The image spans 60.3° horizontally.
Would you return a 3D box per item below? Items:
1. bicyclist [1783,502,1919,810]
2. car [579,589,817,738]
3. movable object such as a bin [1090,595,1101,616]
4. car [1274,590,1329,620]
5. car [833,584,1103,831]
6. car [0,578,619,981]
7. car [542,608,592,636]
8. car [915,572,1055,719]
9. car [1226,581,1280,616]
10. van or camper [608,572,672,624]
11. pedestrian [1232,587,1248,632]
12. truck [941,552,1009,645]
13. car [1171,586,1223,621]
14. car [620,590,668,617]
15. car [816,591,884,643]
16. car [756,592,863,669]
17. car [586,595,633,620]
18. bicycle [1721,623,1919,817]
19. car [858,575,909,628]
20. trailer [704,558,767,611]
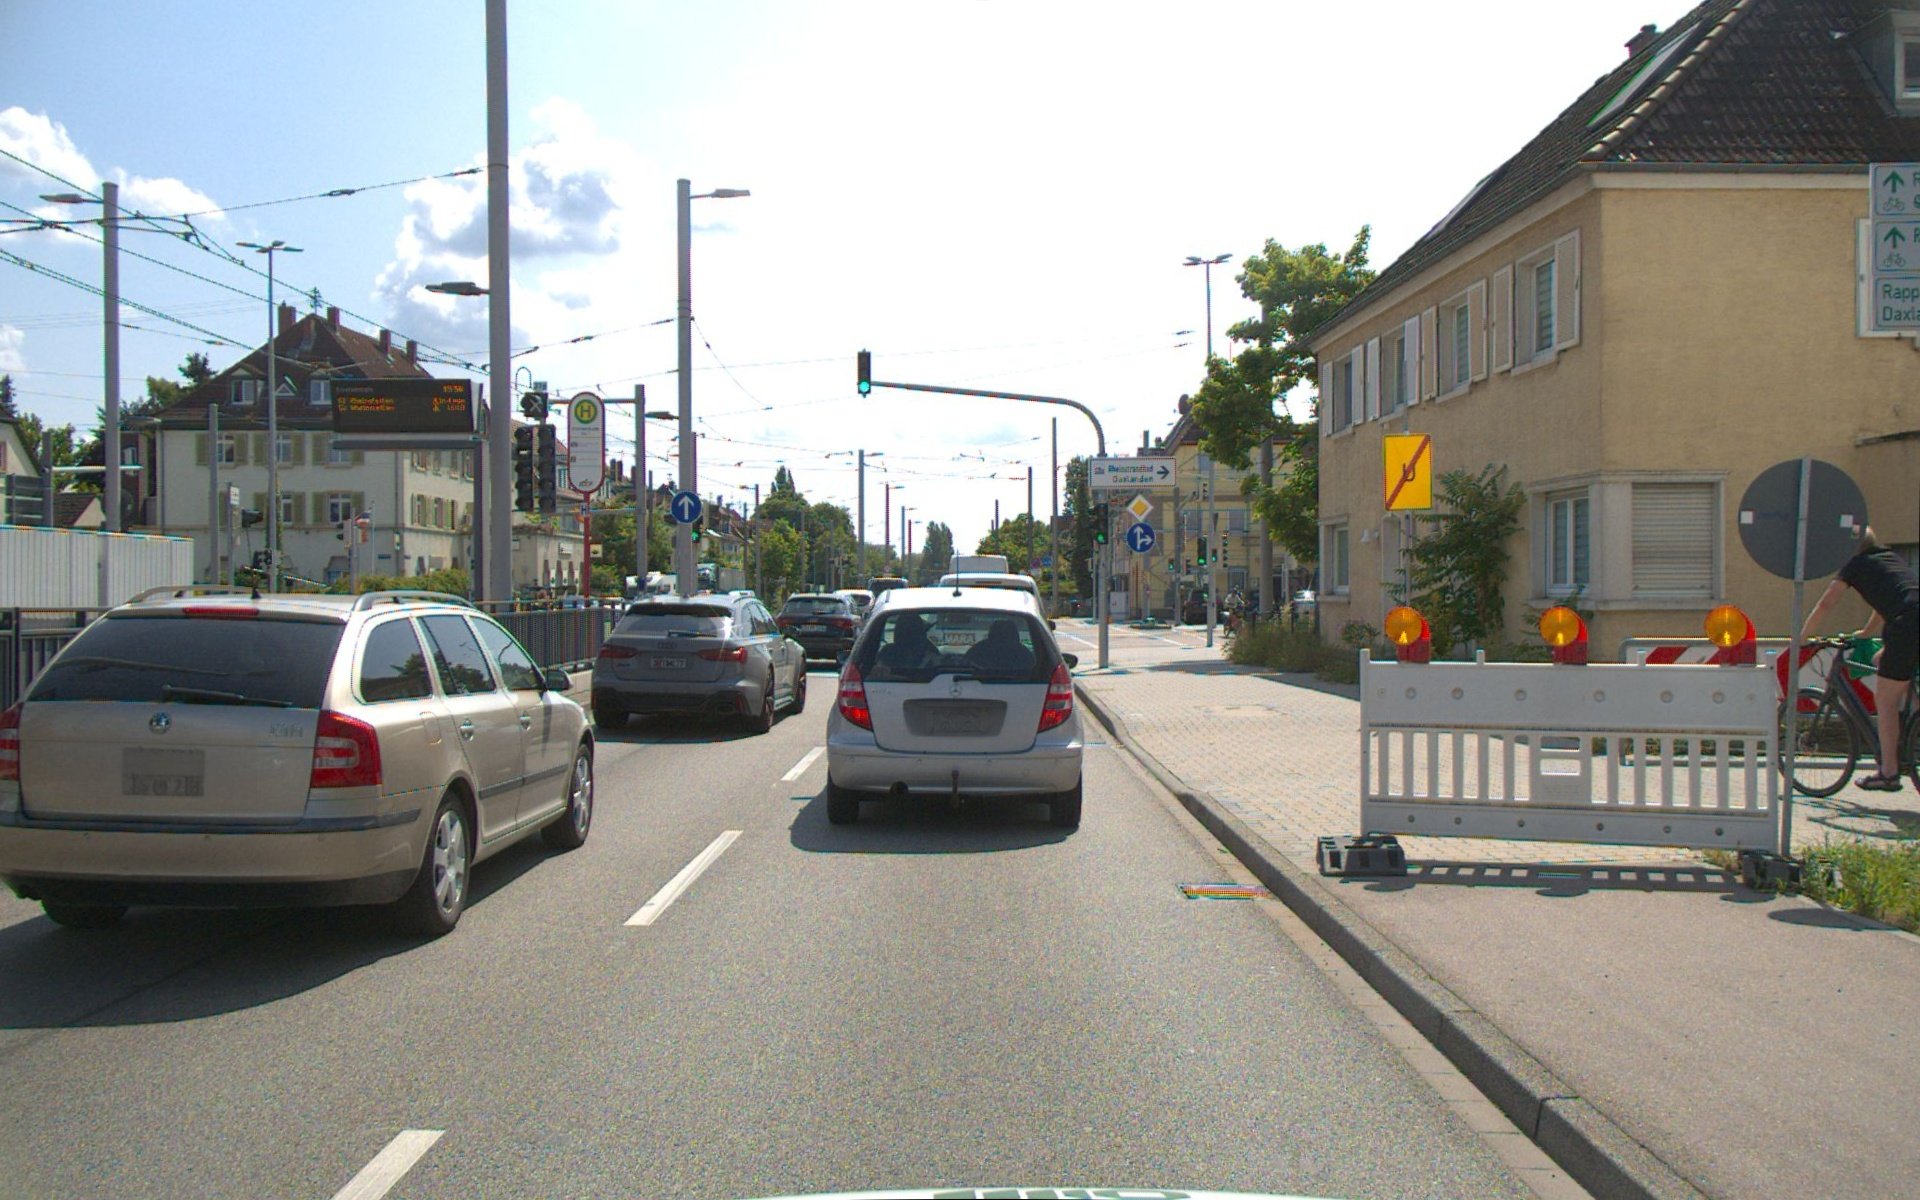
[{"bbox_3d":[5.904,0.319,10.331,0.816,1.825,1.077,-2,0,-20],"label":"bicyclist"},{"bbox_3d":[-2.901,0.658,19.338,1.876,1.503,4.563,1,0,2],"label":"car"},{"bbox_3d":[7.496,0.296,91.544,0.501,1.124,0.855,0,-1,1],"label":"movable object such as a bin"},{"bbox_3d":[16.716,0.246,81.112,1.829,1.375,4.131,1,0,0],"label":"car"},{"bbox_3d":[-0.013,0.699,12.552,1.695,1.543,4.015,1,0,-2],"label":"car"},{"bbox_3d":[-2.962,0.681,8.213,1.696,1.474,4.122,1,0,-1],"label":"car"},{"bbox_3d":[-20.339,1.143,85.699,1.650,1.375,4.343,1,0,-2],"label":"car"},{"bbox_3d":[0.259,0.581,22.607,1.695,1.793,4.015,1,0,-2],"label":"car"},{"bbox_3d":[14.321,-0.053,81.012,1.952,1.624,4.131,1,0,0],"label":"car"},{"bbox_3d":[-19.444,-0.130,101.001,2.276,2.981,7.755,-1,0,1],"label":"van or camper"},{"bbox_3d":[10.369,0.348,61.252,0.535,1.672,0.401,1,-1,5],"label":"pedestrian"},{"bbox_3d":[0.399,-0.017,49.778,1.815,2.597,5.853,1,0,-1],"label":"truck"},{"bbox_3d":[11.548,0.183,80.827,1.952,1.624,4.131,1,0,0],"label":"car"},{"bbox_3d":[-16.549,0.198,86.692,1.649,1.375,4.178,1,0,1],"label":"car"},{"bbox_3d":[-3.167,0.482,48.252,1.815,1.413,3.917,1,0,-2],"label":"car"},{"bbox_3d":[-2.935,0.586,33.066,1.815,1.413,4.513,1,0,-1],"label":"car"},{"bbox_3d":[-19.756,0.418,93.306,1.649,1.375,4.345,1,0,1],"label":"car"},{"bbox_3d":[5.877,0.725,10.437,0.816,1.094,1.960,-2,1,-19],"label":"bicycle"},{"bbox_3d":[-2.831,0.076,62.001,1.815,1.875,3.917,1,0,-2],"label":"car"},{"bbox_3d":[-17.912,-1.304,132.867,2.545,3.887,12.841,-3,1,2],"label":"trailer"}]
